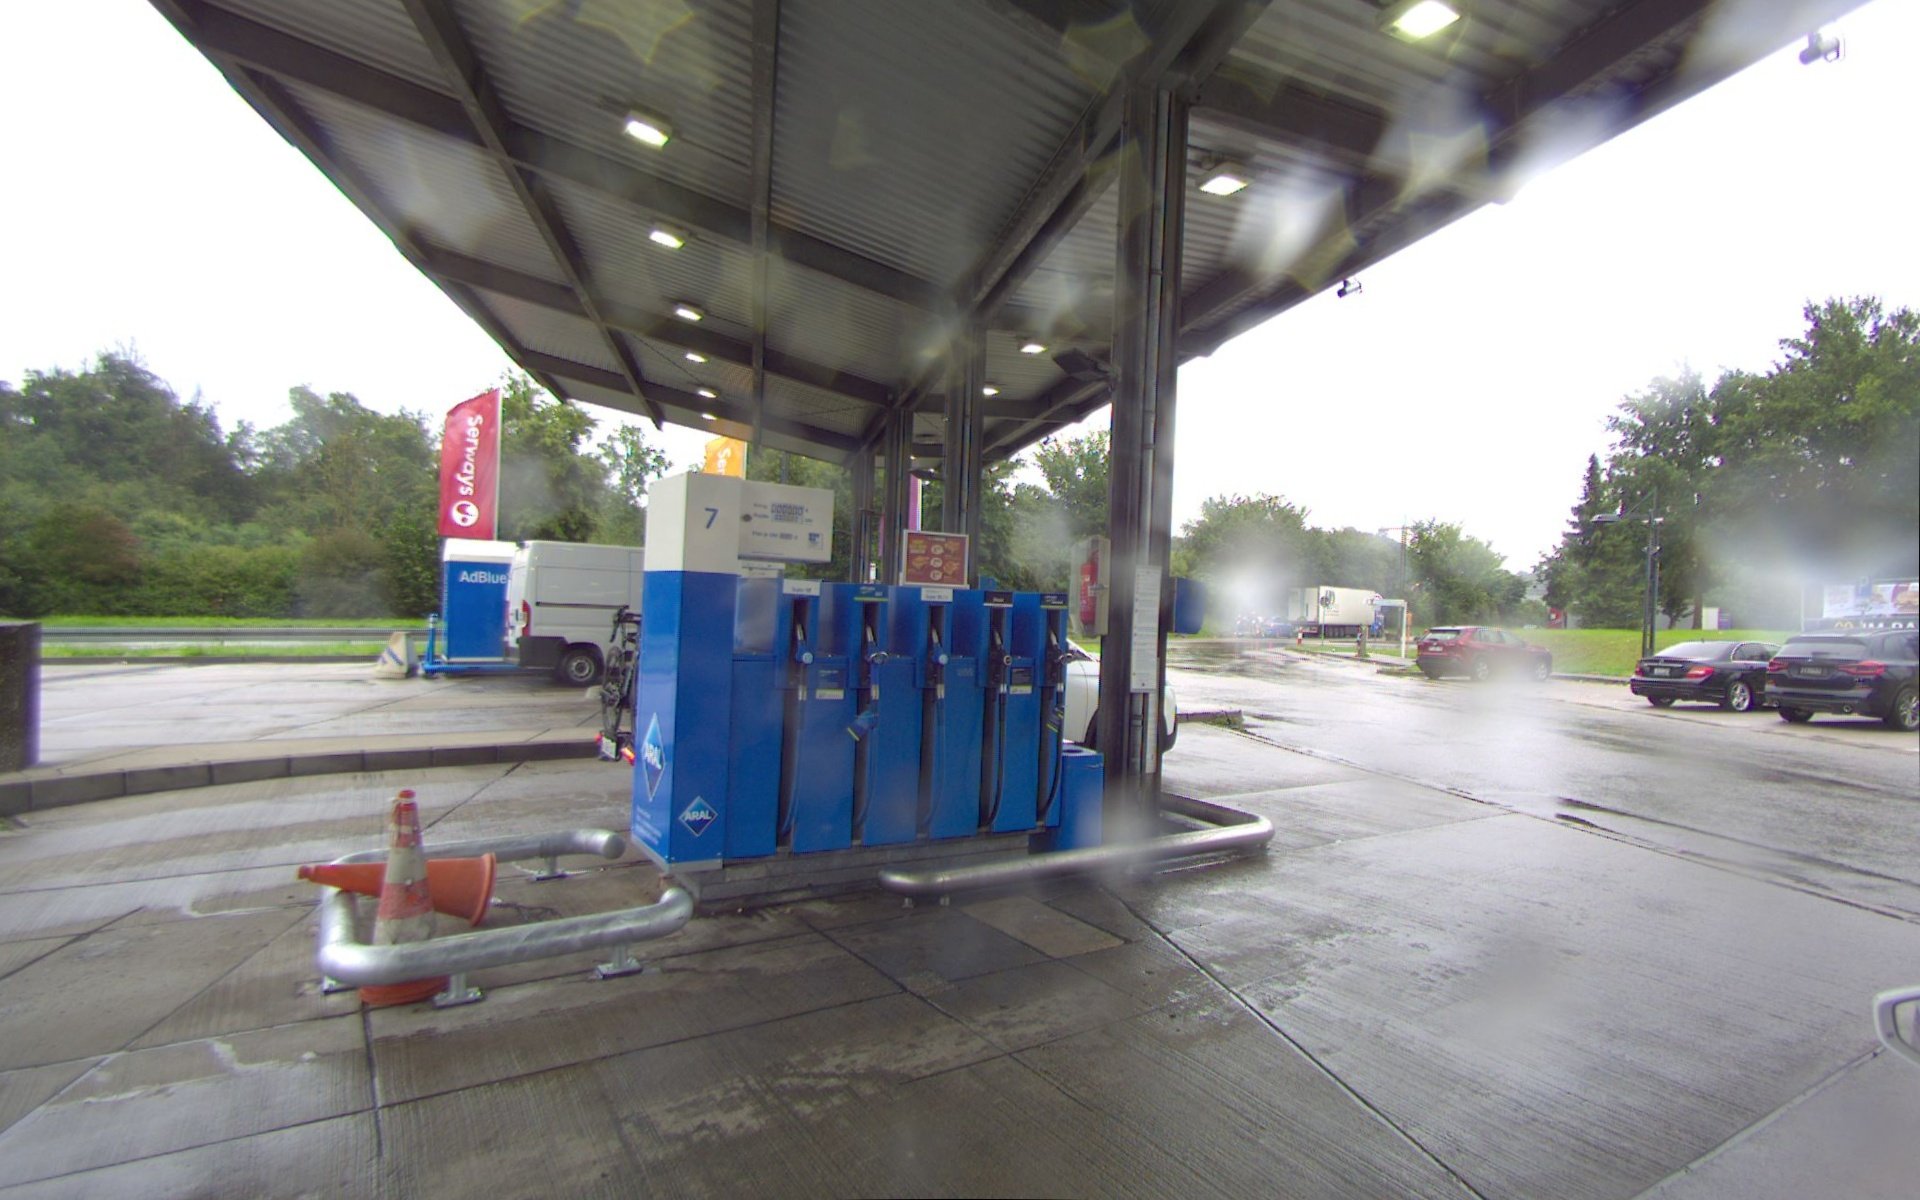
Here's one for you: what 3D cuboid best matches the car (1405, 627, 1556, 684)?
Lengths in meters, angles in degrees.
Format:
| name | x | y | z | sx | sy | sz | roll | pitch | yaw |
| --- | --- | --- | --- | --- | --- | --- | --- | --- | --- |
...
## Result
| name | x | y | z | sx | sy | sz | roll | pitch | yaw |
| --- | --- | --- | --- | --- | --- | --- | --- | --- | --- |
| car | 16.065 | 1.671 | 30.995 | 4.283 | 1.666 | 1.933 | 1 | -2 | -25 |

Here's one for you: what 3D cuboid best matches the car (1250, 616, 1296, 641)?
| name | x | y | z | sx | sy | sz | roll | pitch | yaw |
| --- | --- | --- | --- | --- | --- | --- | --- | --- | --- |
| car | 22.889 | 2.062 | 73.430 | 1.787 | 1.704 | 3.934 | 2 | 0 | 40 |

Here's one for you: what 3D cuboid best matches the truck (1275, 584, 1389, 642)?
| name | x | y | z | sx | sy | sz | roll | pitch | yaw |
| --- | --- | --- | --- | --- | --- | --- | --- | --- | --- |
| truck | 31.864 | 1.186 | 85.146 | 3.498 | 4.397 | 16.922 | 2 | 0 | 40 |

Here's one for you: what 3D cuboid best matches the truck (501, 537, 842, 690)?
| name | x | y | z | sx | sy | sz | roll | pitch | yaw |
| --- | --- | --- | --- | --- | --- | --- | --- | --- | --- |
| truck | -5.348 | 0.293 | 18.932 | 5.793 | 2.527 | 2.221 | 2 | 0 | -30 |

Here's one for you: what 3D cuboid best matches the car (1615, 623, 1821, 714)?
| name | x | y | z | sx | sy | sz | roll | pitch | yaw |
| --- | --- | --- | --- | --- | --- | --- | --- | --- | --- |
| car | 15.931 | 1.357 | 21.084 | 4.293 | 1.734 | 2.007 | 1 | -2 | -31 |

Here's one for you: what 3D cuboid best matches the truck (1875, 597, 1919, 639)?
| name | x | y | z | sx | sy | sz | roll | pitch | yaw |
| --- | --- | --- | --- | --- | --- | --- | --- | --- | --- |
| truck | 68.840 | 1.324 | 71.697 | 5.285 | 2.959 | 2.191 | 2 | 0 | -5 |

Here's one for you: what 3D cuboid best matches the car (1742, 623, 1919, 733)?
| name | x | y | z | sx | sy | sz | roll | pitch | yaw |
| --- | --- | --- | --- | --- | --- | --- | --- | --- | --- |
| car | 16.162 | 1.272 | 17.461 | 4.274 | 1.734 | 2.016 | 1 | -1 | -18 |

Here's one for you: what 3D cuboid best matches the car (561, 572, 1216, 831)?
| name | x | y | z | sx | sy | sz | roll | pitch | yaw |
| --- | --- | --- | --- | --- | --- | --- | --- | --- | --- |
| car | -0.435 | 0.701 | 8.451 | 5.210 | 1.629 | 1.852 | 2 | 0 | -30 |
